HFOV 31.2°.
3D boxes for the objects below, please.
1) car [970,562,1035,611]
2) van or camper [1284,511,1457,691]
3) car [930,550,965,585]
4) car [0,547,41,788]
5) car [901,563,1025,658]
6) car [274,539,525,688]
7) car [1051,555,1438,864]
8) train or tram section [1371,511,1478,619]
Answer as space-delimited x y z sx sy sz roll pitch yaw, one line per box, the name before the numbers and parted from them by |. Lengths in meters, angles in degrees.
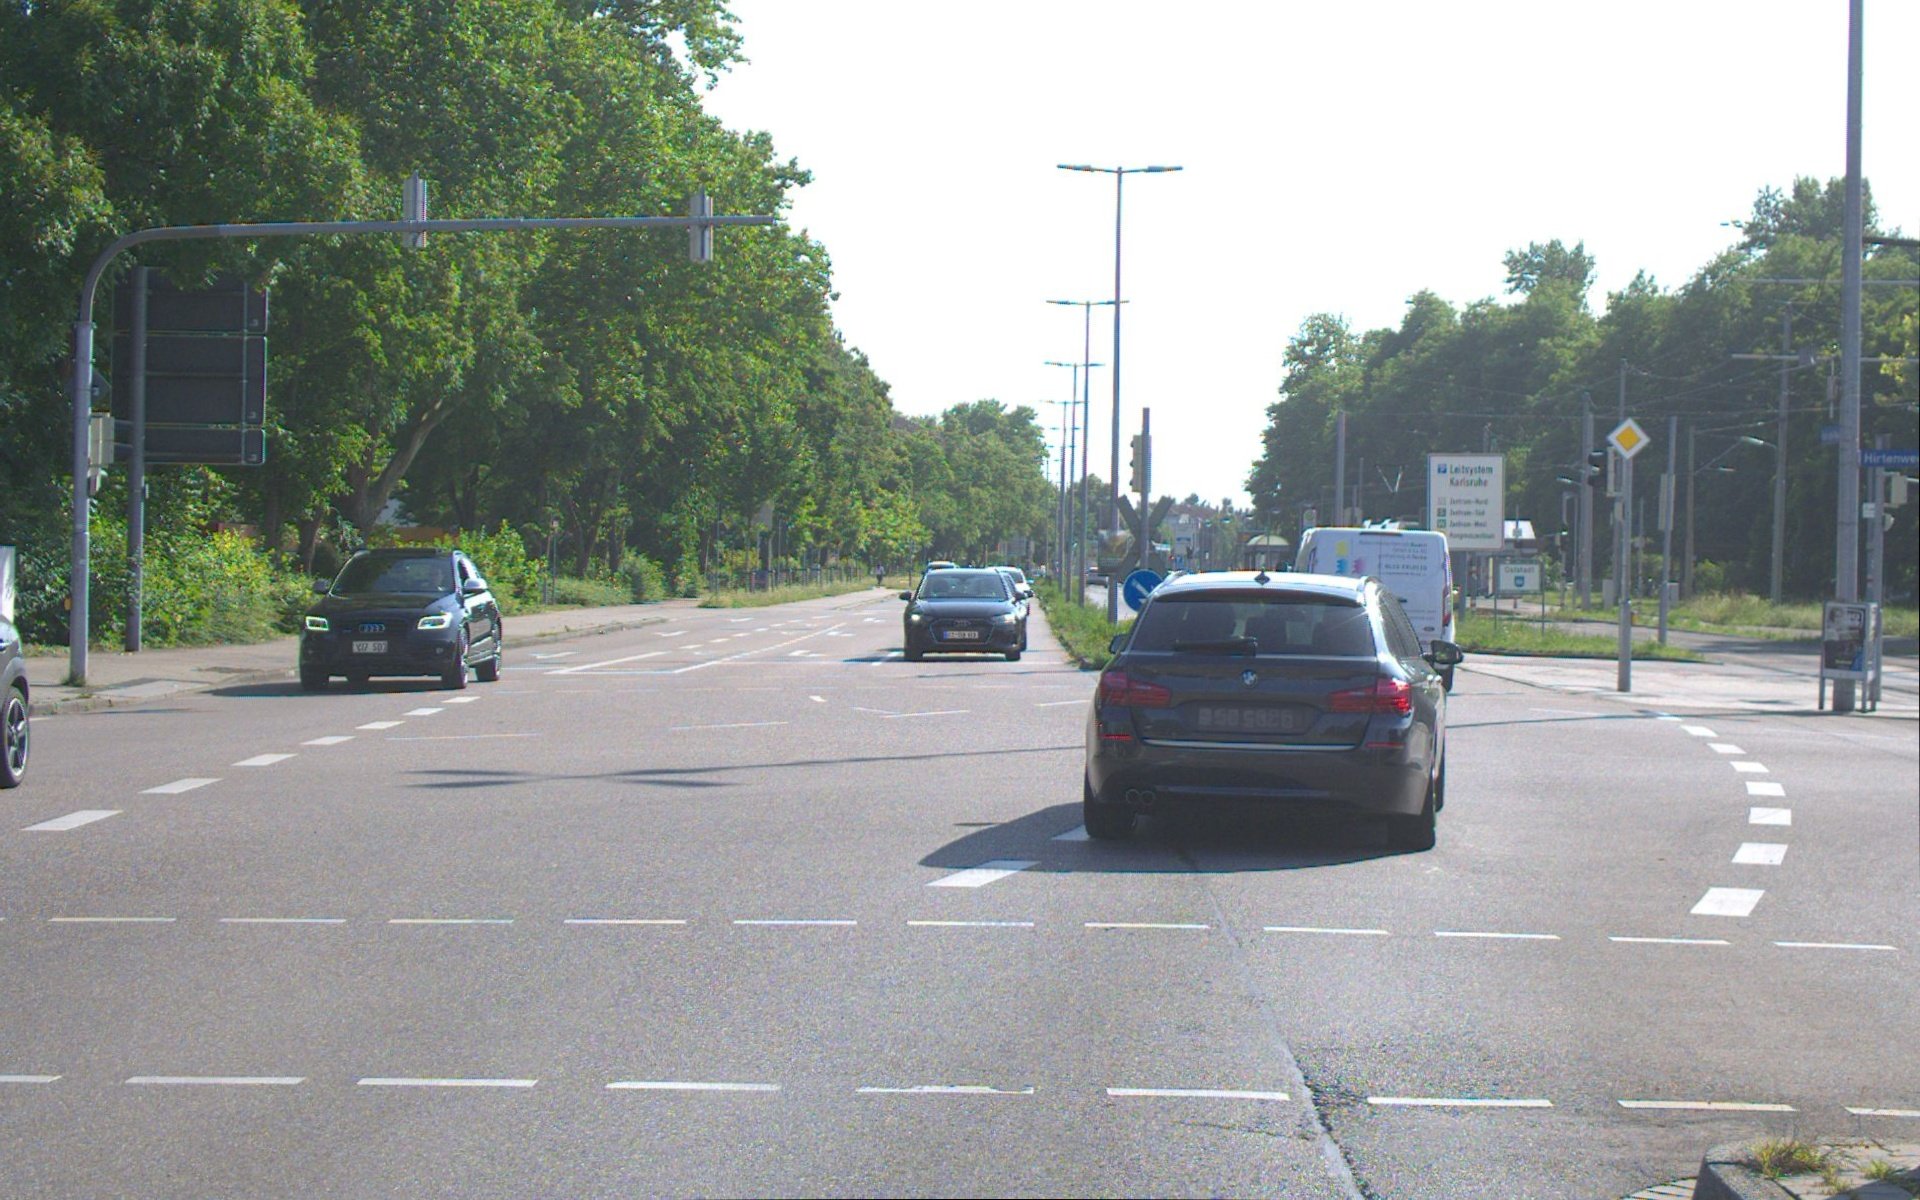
car | 1.362 -0.438 108.385 1.848 1.472 4.645 1 1 2
van or camper | 5.133 -0.016 43.171 1.994 2.089 4.597 1 1 6
car | -0.648 -1.745 183.352 1.788 1.766 4.570 1 1 0
car | -6.883 0.429 20.624 1.788 1.515 4.000 1 1 -2
car | 0.092 0.129 54.239 1.829 1.426 4.731 0 1 2
car | -6.598 0.126 40.959 1.989 1.653 4.384 1 1 4
car | 1.623 0.526 19.304 1.903 1.500 4.064 1 1 6
train or tram section | 16.709 -1.205 124.425 2.796 3.606 12.954 2 0 4
